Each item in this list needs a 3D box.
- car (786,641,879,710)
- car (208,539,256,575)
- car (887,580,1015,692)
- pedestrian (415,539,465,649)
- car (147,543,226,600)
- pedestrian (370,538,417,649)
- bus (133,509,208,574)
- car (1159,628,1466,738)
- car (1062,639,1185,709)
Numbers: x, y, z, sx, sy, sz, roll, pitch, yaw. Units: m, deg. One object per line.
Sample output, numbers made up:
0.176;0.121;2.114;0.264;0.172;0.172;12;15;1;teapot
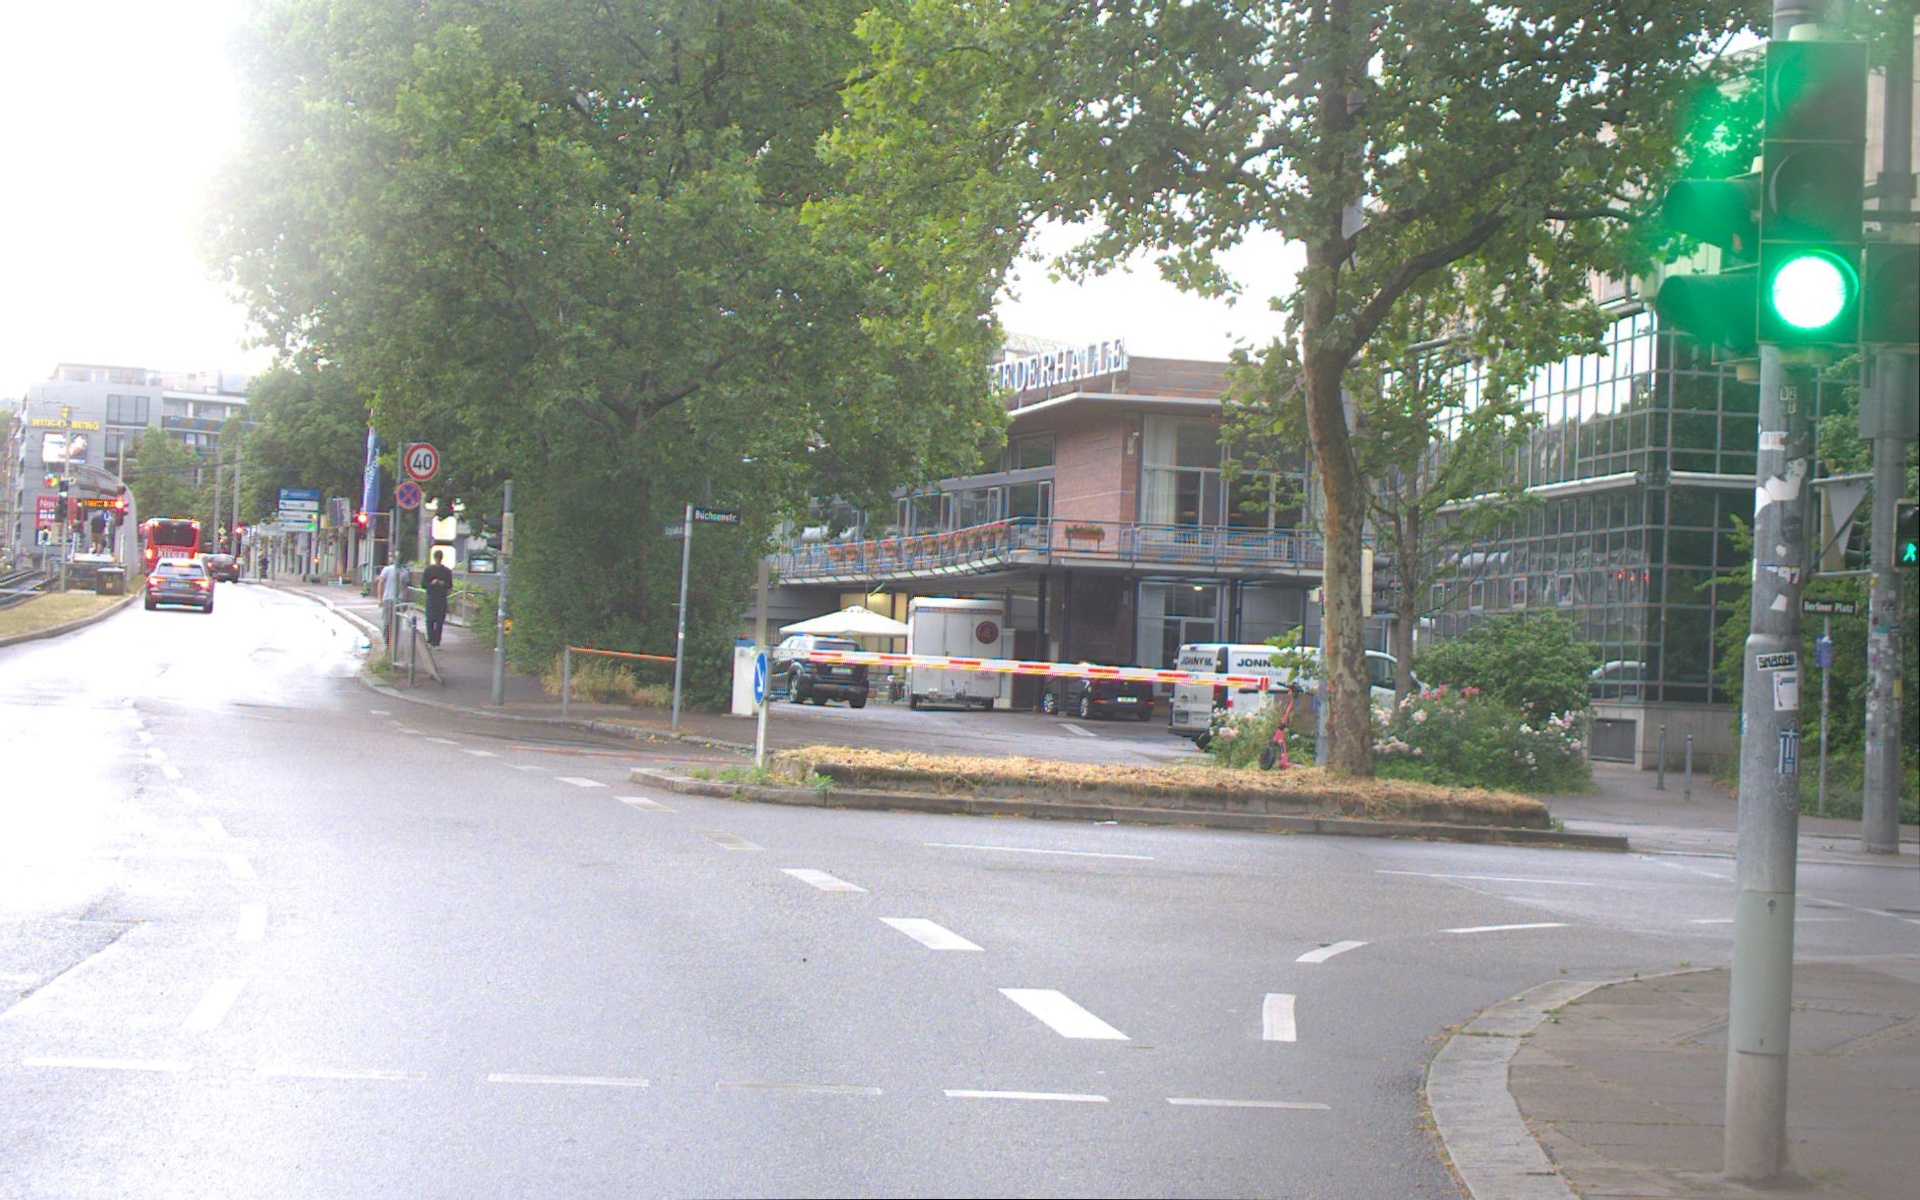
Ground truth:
-3.231;1.916;87.776;2.019;1.546;4.350;3;0;2;car
-38.384;-2.258;181.250;2.362;1.810;5.185;1;0;-13;car
-0.302;0.899;91.203;2.731;2.686;6.923;3;0;-4;car
-9.617;-0.120;63.615;0.874;2.007;1.077;1;0;-8;pedestrian
-21.193;-0.785;94.311;1.993;1.514;4.351;1;0;-11;car
-10.443;-0.122;63.406;0.814;2.007;1.077;1;0;-8;pedestrian
-40.476;-2.937;176.272;3.589;3.160;10.423;1;0;-13;bus
6.367;1.503;62.034;5.198;1.725;1.875;3;0;-25;car
4.189;1.901;89.026;2.019;1.546;4.351;3;0;-13;car
